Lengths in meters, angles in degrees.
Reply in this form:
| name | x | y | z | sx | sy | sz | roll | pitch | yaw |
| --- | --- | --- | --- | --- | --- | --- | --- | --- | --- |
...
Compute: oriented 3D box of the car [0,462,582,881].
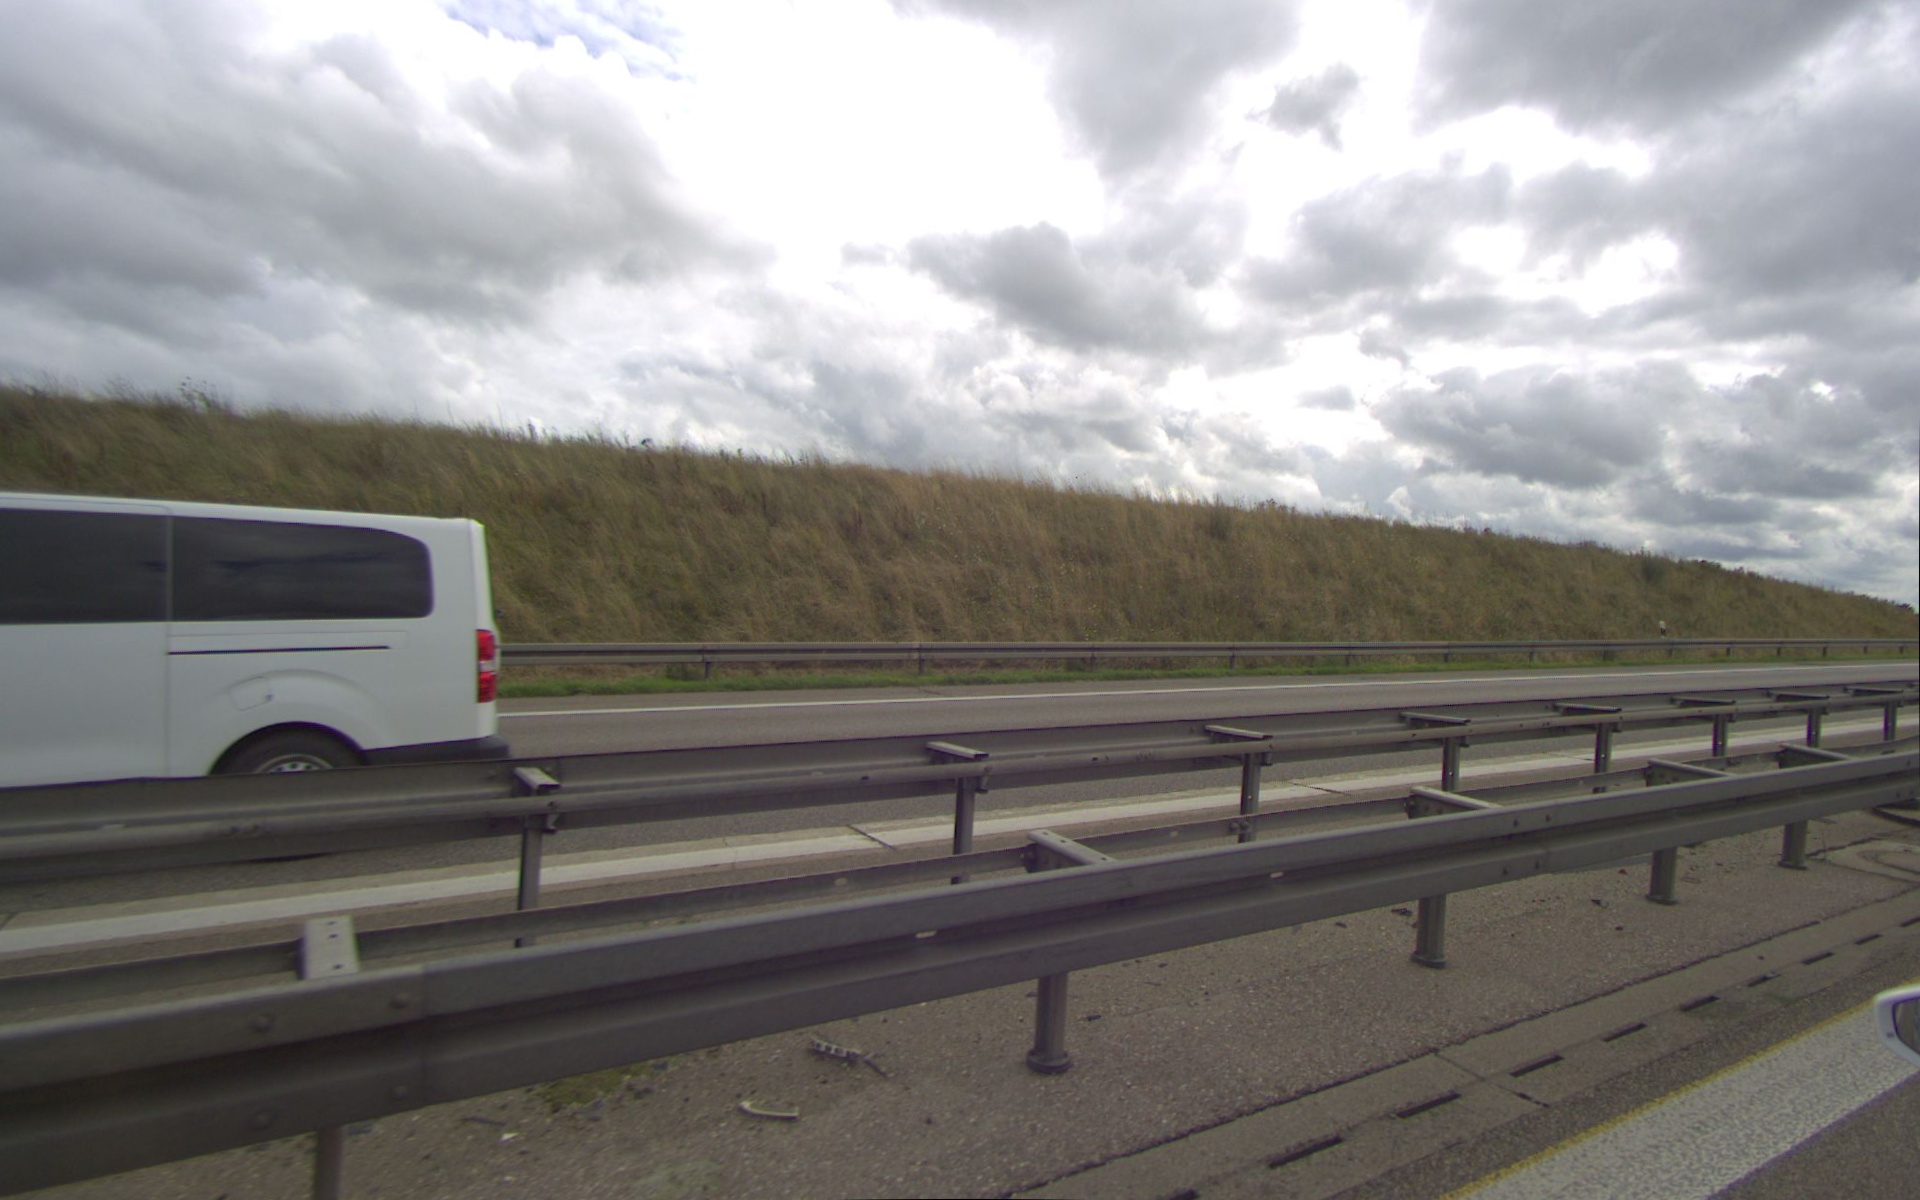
| name | x | y | z | sx | sy | sz | roll | pitch | yaw |
| --- | --- | --- | --- | --- | --- | --- | --- | --- | --- |
| car | -4.980 | 0.306 | 5.276 | 5.355 | 1.910 | 1.819 | 2 | 0 | -30 |
